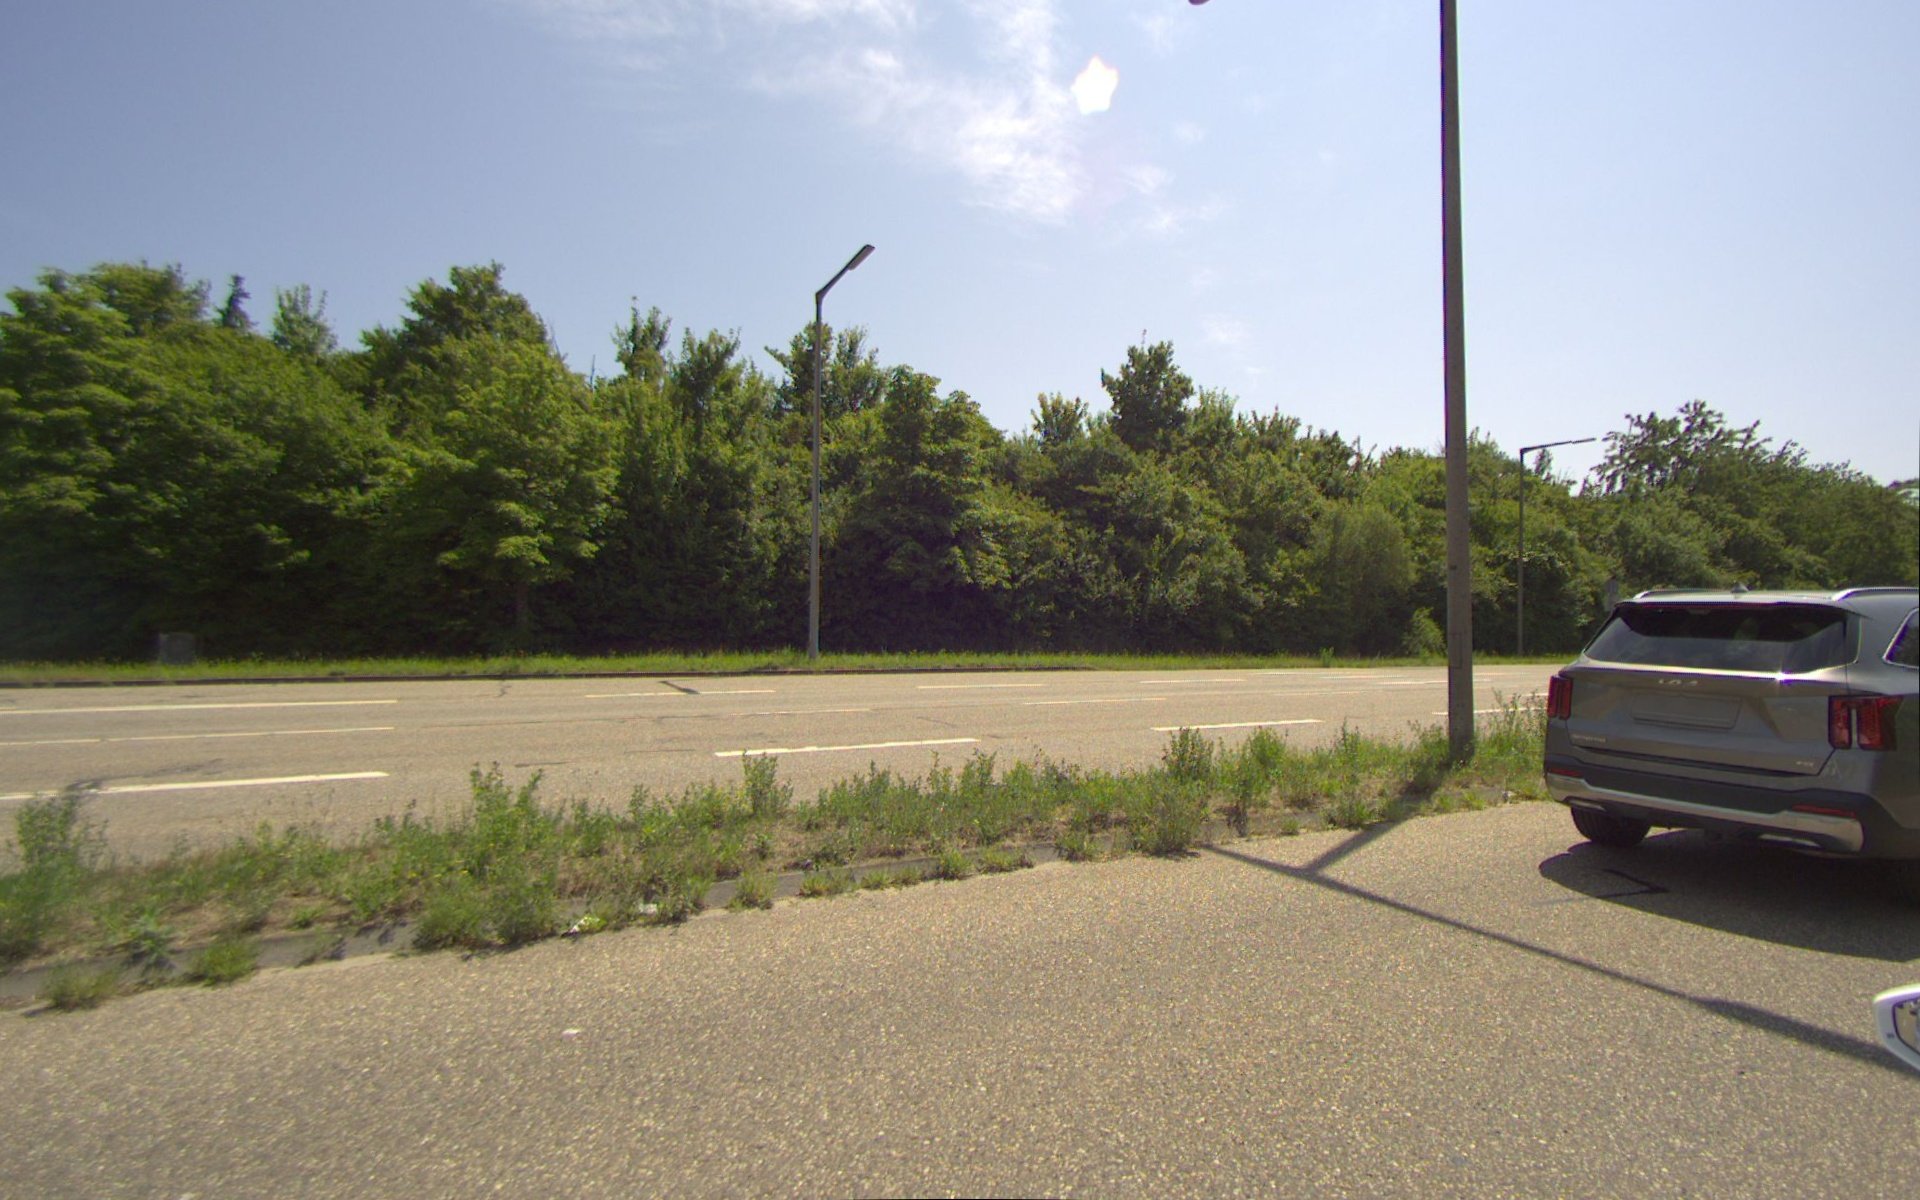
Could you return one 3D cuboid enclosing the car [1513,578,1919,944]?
[{"bbox_3d":[5.846,0.805,6.558,4.588,1.684,1.796,2,-1,-30],"label":"car"}]
